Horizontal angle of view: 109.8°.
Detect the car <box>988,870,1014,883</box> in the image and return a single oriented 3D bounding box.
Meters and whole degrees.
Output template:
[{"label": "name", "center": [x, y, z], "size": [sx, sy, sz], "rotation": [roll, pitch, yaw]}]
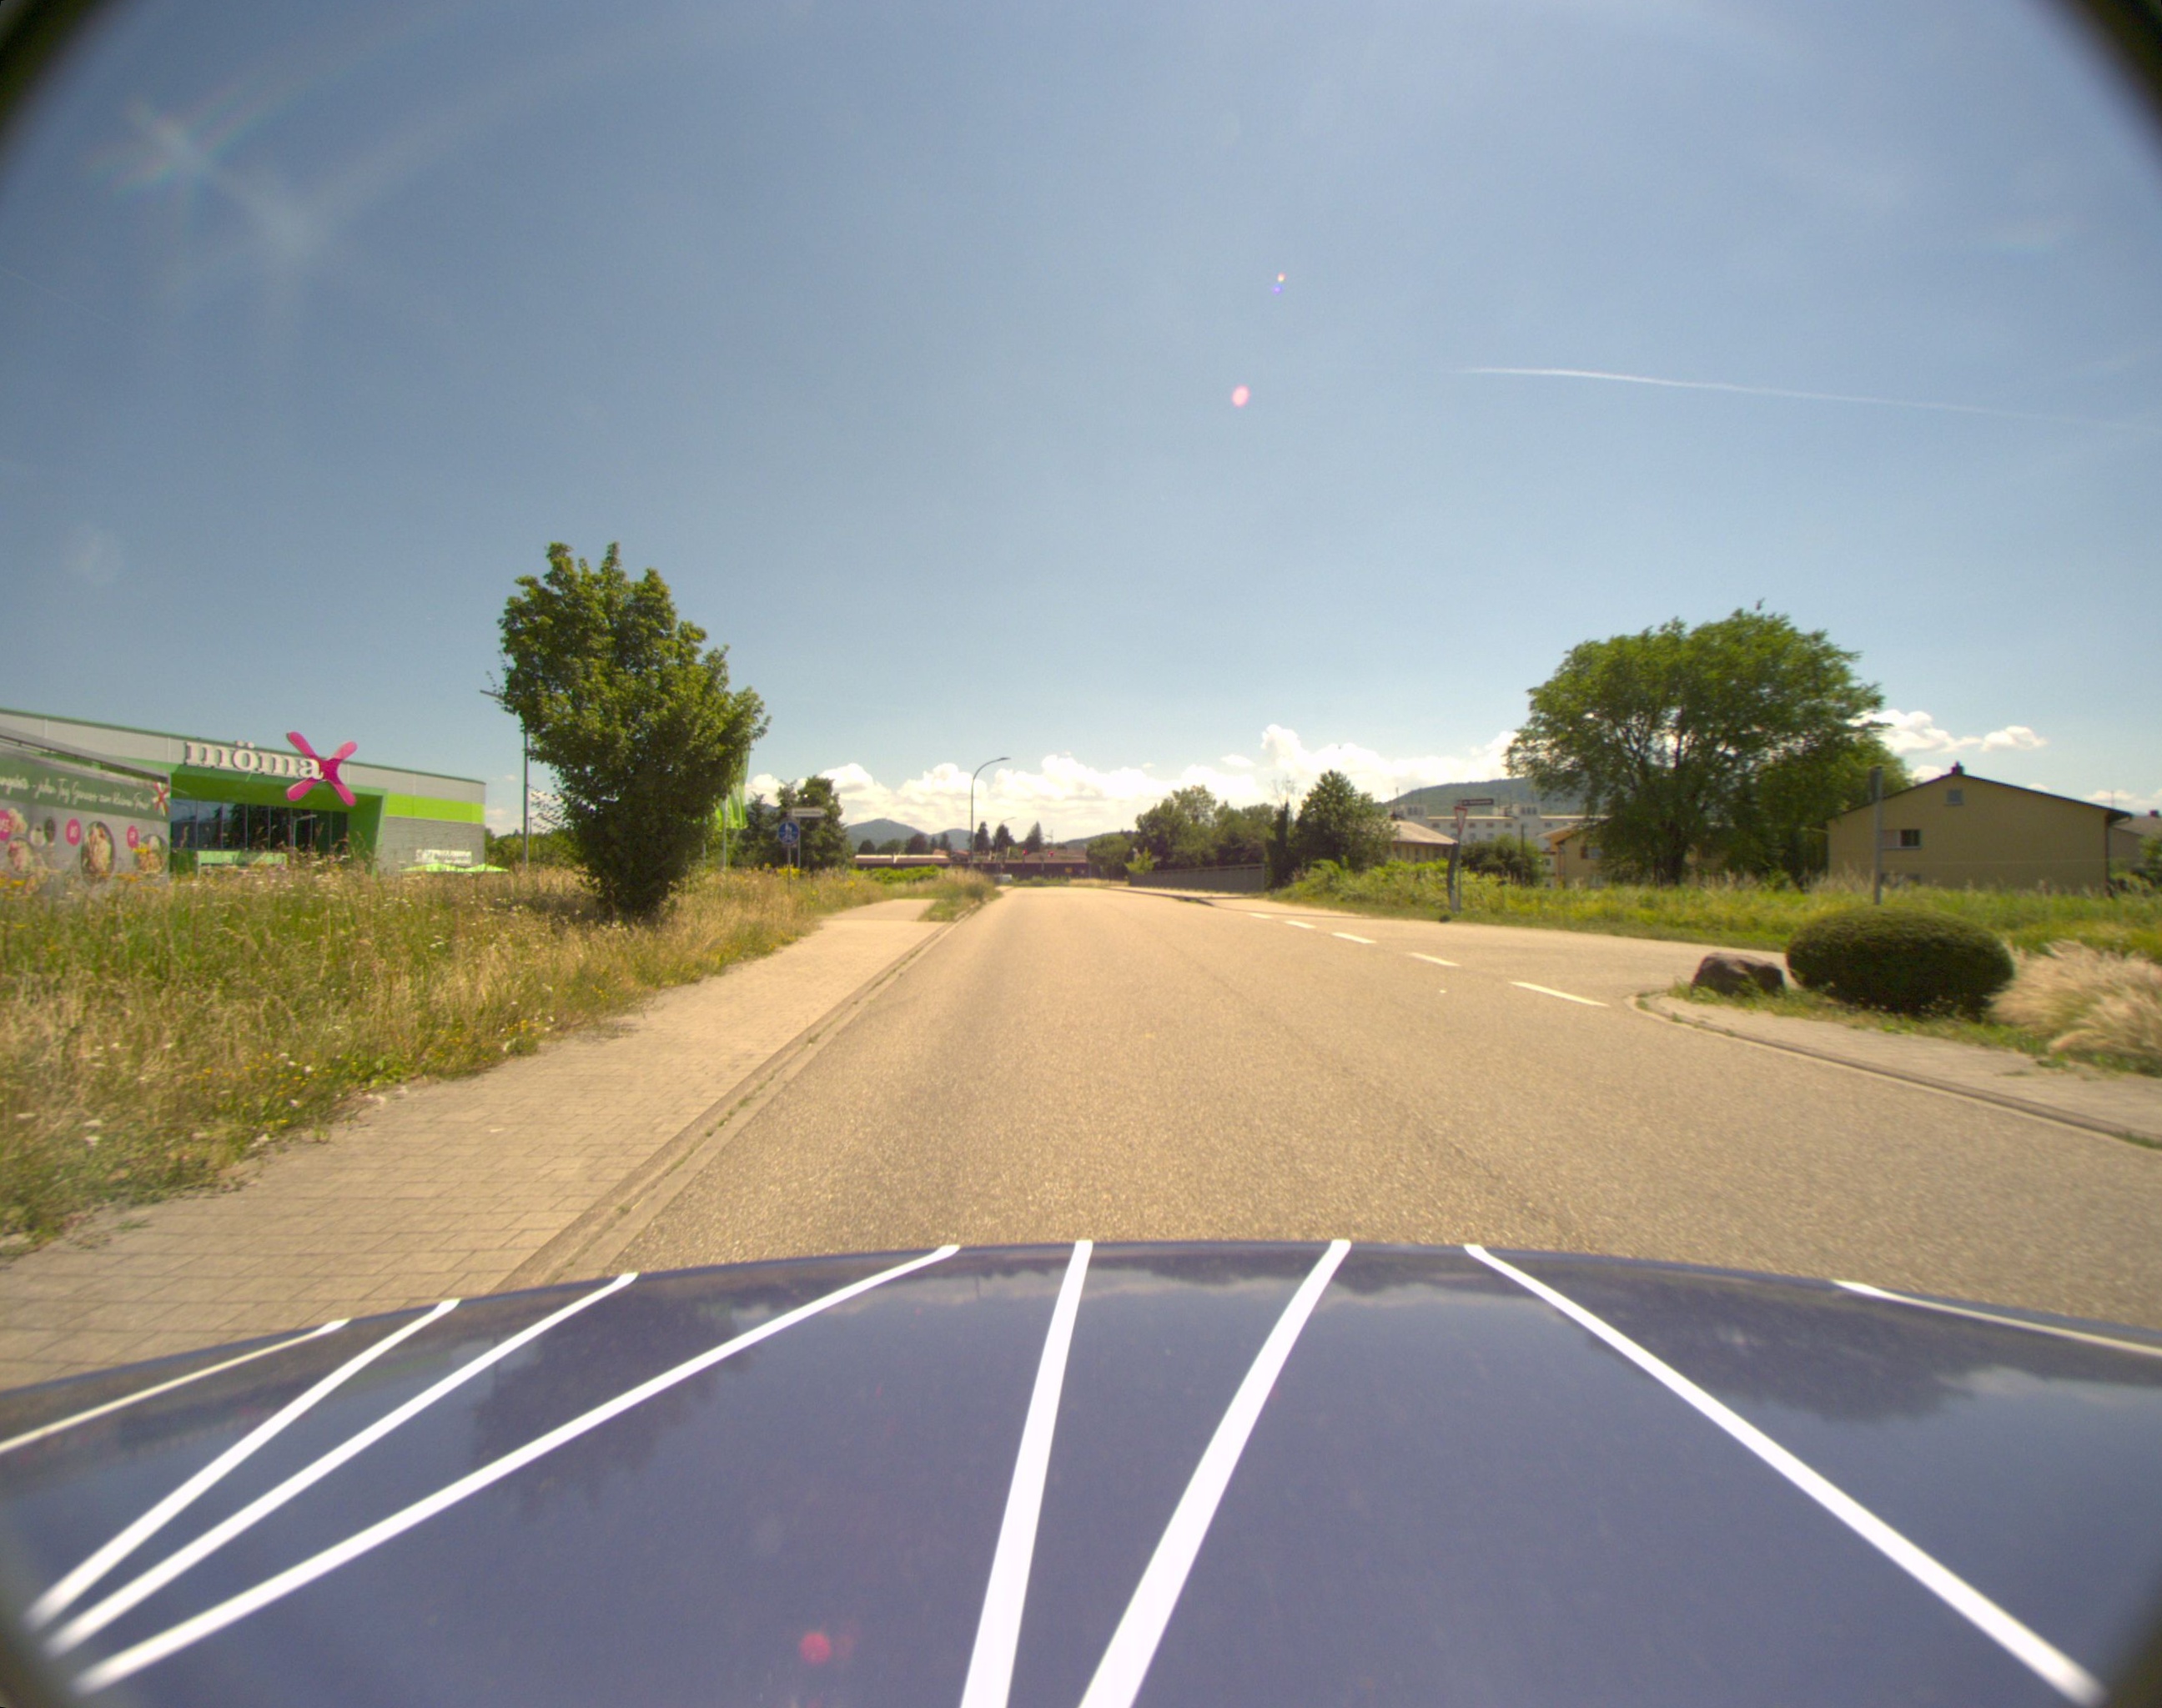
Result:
[{"label": "car", "center": [-15.398, 4.281, 146.185], "size": [4.678, 2.321, 2.000], "rotation": [-2, 1, 2]}]
